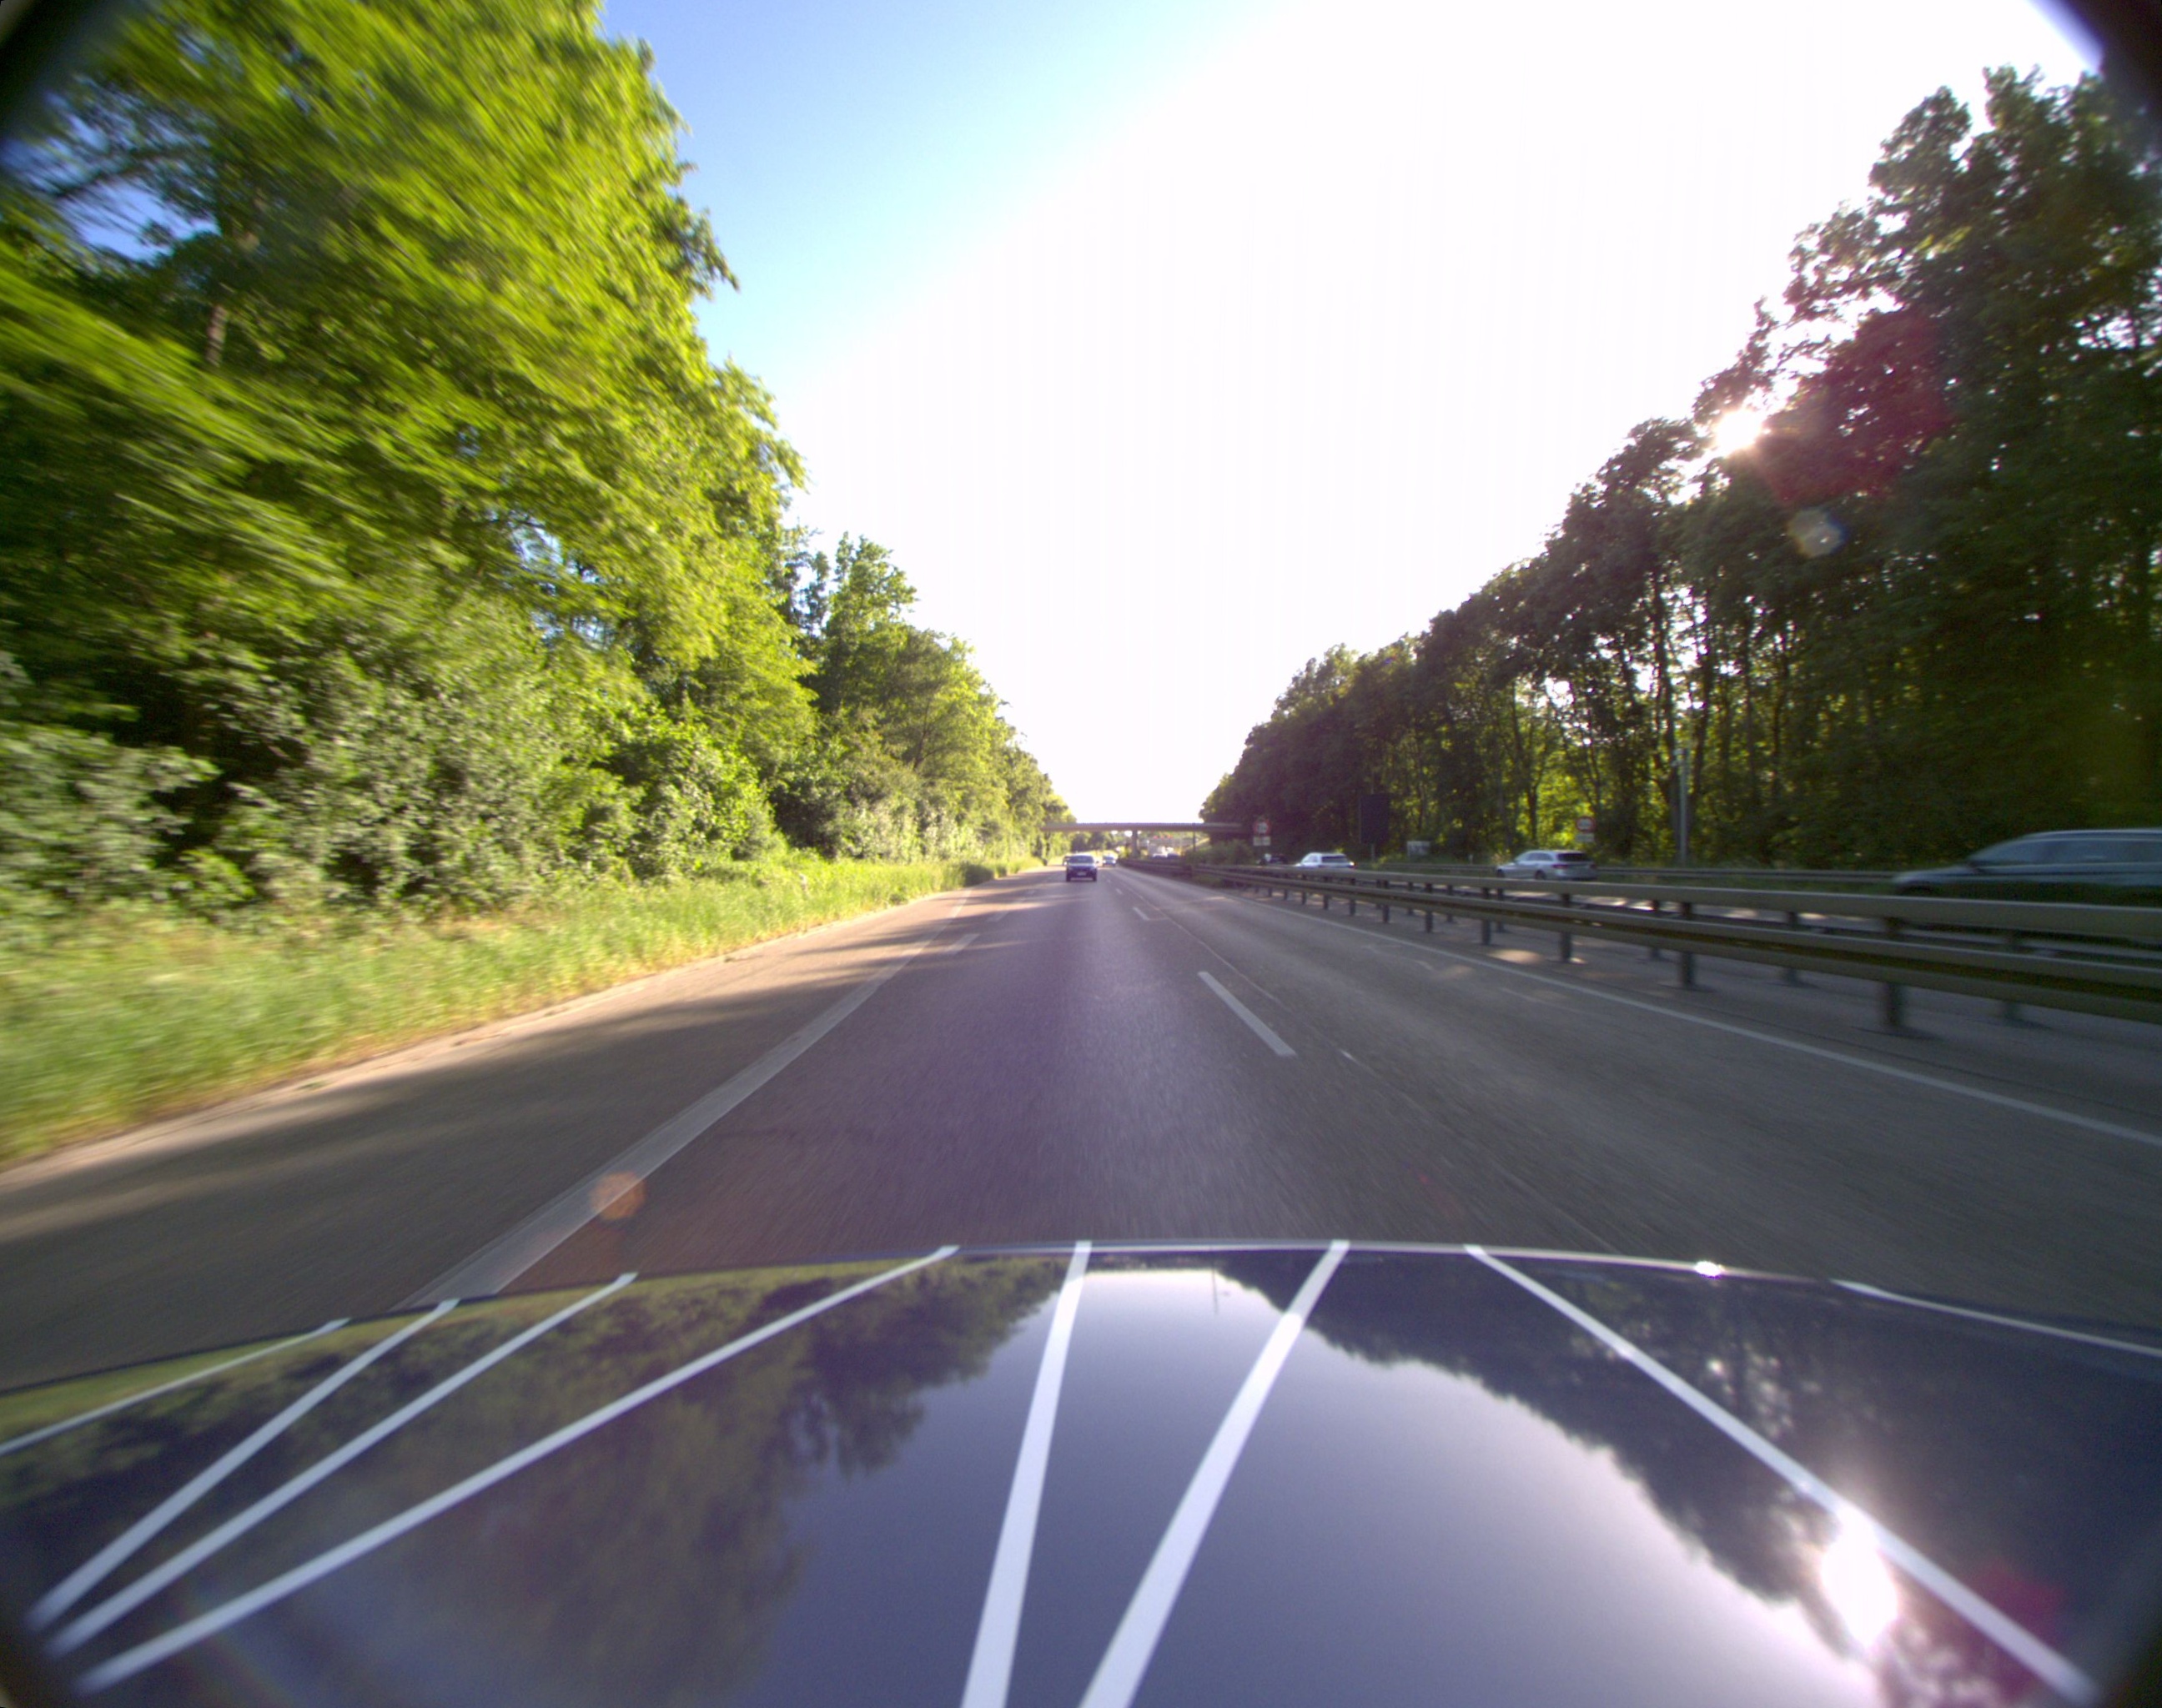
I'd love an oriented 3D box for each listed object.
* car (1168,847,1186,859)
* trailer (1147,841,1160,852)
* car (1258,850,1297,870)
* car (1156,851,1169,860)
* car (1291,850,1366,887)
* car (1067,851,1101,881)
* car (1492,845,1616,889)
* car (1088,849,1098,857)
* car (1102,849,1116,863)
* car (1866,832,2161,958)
[{"bbox_3d":[12.302,-0.119,97.340,1.754,1.488,3.942,0,1,0],"label":"car"},{"bbox_3d":[21.124,-2.248,221.054,2.937,3.150,11.916,1,1,2],"label":"trailer"},{"bbox_3d":[15.625,0.439,60.649,1.998,1.531,4.118,0,1,0],"label":"car"},{"bbox_3d":[13.441,0.244,125.646,1.734,1.480,4.396,0,0,1],"label":"car"},{"bbox_3d":[11.351,0.604,35.208,1.998,1.551,4.707,0,1,0],"label":"car"},{"bbox_3d":[0.214,0.647,44.094,1.712,1.565,3.423,-3,1,4],"label":"car"},{"bbox_3d":[18.491,0.454,30.012,1.998,1.591,4.707,0,1,0],"label":"car"},{"bbox_3d":[2.456,-0.218,156.671,1.998,1.740,4.373,1,1,3],"label":"car"},{"bbox_3d":[3.934,0.273,107.267,1.998,1.793,4.000,1,1,2],"label":"car"},{"bbox_3d":[15.400,0.539,11.476,1.998,1.689,4.907,0,1,0],"label":"car"}]
